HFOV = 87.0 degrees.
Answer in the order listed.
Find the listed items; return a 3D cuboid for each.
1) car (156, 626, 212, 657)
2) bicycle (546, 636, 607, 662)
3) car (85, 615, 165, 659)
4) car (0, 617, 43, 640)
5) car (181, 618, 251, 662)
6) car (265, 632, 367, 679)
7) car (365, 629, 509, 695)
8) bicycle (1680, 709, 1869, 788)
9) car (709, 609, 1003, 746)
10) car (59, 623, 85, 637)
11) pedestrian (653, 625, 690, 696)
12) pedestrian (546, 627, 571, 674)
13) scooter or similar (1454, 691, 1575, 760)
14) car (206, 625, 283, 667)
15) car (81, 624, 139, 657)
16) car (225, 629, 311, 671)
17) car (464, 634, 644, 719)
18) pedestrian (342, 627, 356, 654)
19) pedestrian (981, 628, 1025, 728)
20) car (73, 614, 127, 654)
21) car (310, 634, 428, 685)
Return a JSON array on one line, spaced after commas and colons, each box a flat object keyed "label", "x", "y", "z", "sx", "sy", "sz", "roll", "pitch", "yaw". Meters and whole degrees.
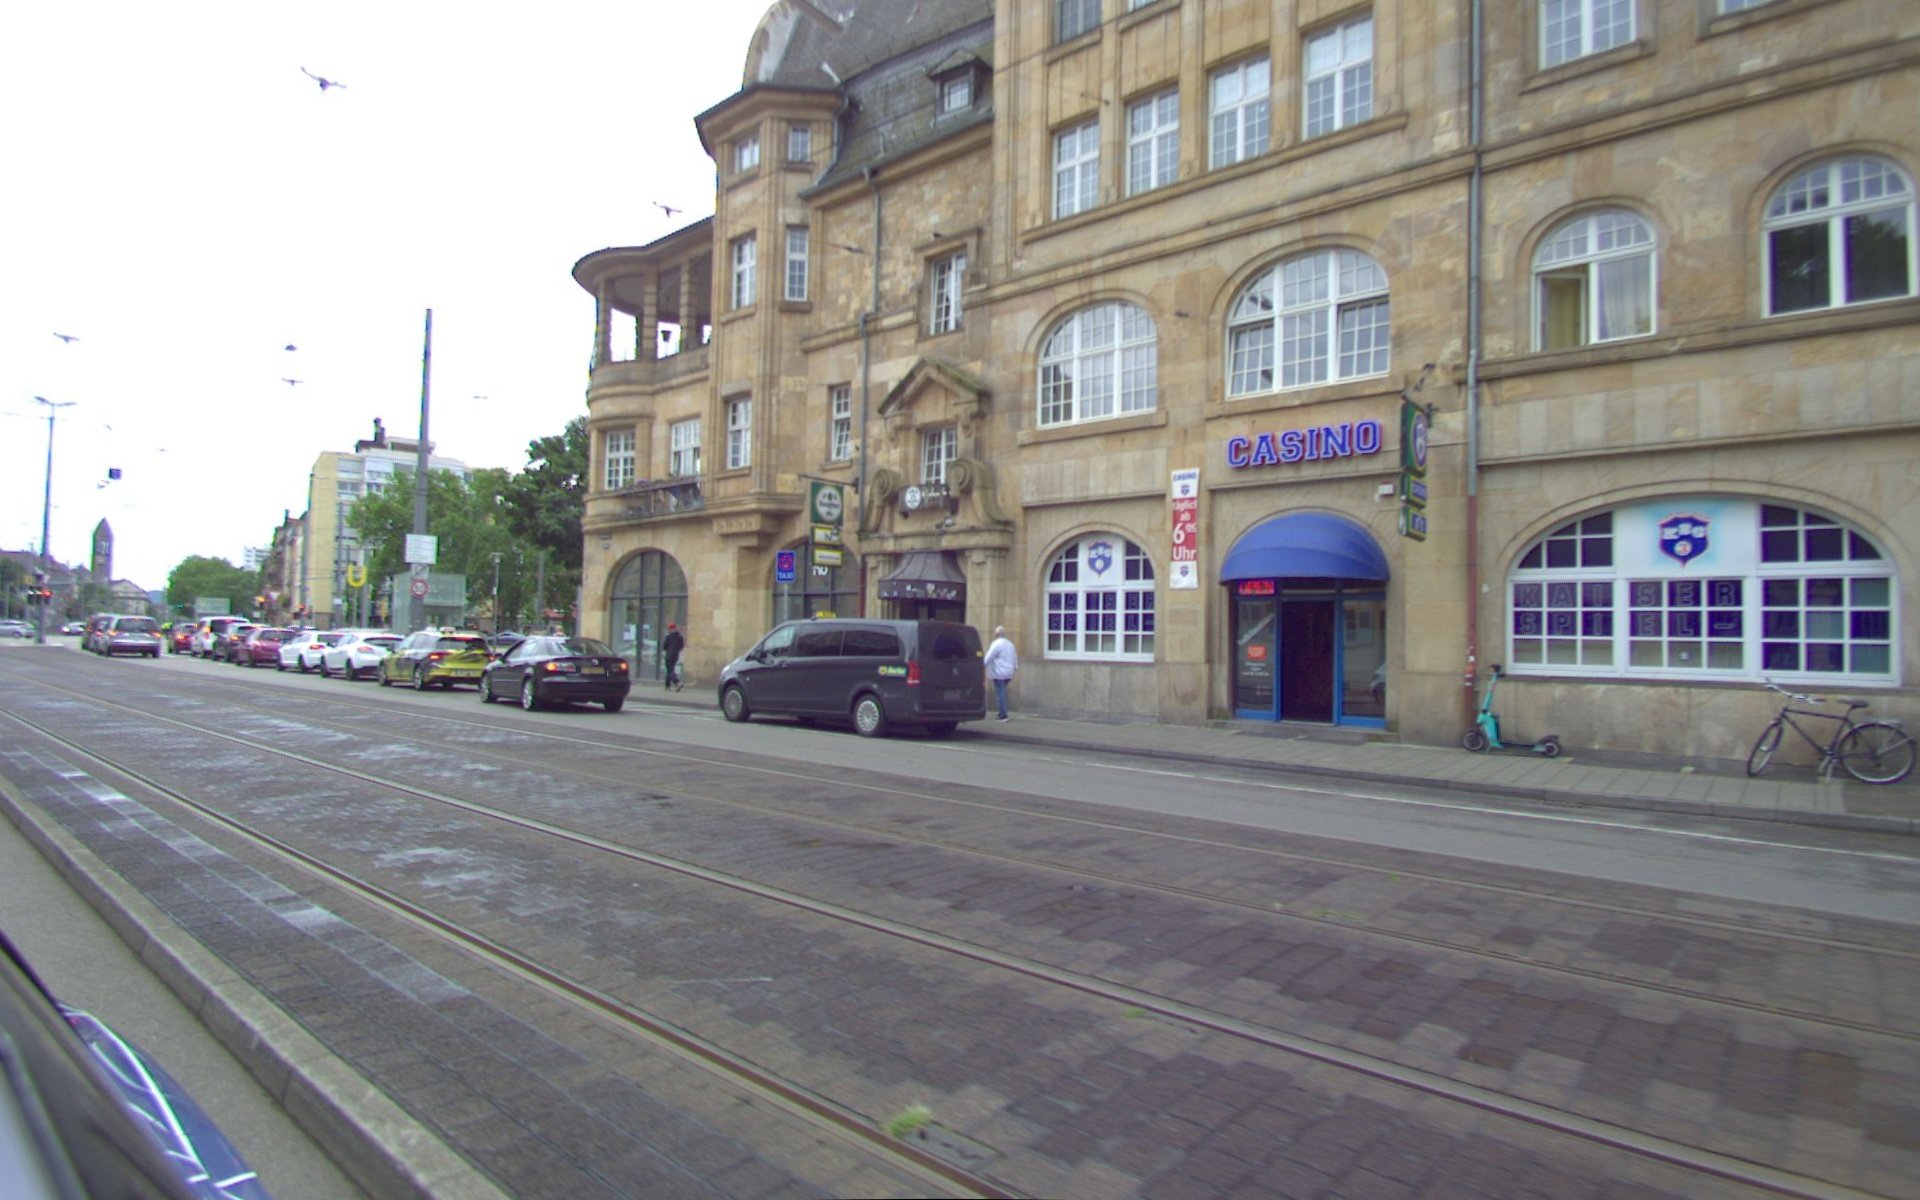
[{"label": "car", "x": -38.799, "y": 2.044, "z": 50.560, "sx": 4.002, "sy": 1.453, "sz": 1.669, "roll": -1, "pitch": -4, "yaw": 45}, {"label": "bicycle", "x": -21.658, "y": 2.752, "z": 57.161, "sx": 3.085, "sy": 1.364, "sz": 0.958, "roll": 1, "pitch": -2, "yaw": 9}, {"label": "car", "x": -35.678, "y": 1.580, "z": 43.201, "sx": 4.908, "sy": 1.719, "sz": 1.843, "roll": -1, "pitch": -5, "yaw": 42}, {"label": "car", "x": -79.047, "y": 2.358, "z": 83.888, "sx": 3.934, "sy": 1.763, "sz": 2.005, "roll": 2, "pitch": -2, "yaw": -12}, {"label": "car", "x": -34.151, "y": 1.818, "z": 46.392, "sx": 1.841, "sy": 1.931, "sz": 5.104, "roll": 4, "pitch": -4, "yaw": -44}, {"label": "car", "x": -21.727, "y": 1.842, "z": 34.079, "sx": 4.361, "sy": 1.390, "sz": 1.728, "roll": -1, "pitch": -6, "yaw": 42}, {"label": "car", "x": -13.309, "y": 1.546, "z": 25.637, "sx": 4.429, "sy": 1.522, "sz": 1.877, "roll": -2, "pitch": -5, "yaw": 44}, {"label": "bicycle", "x": 9.583, "y": 1.728, "z": 11.961, "sx": 1.705, "sy": 0.751, "sz": 0.575, "roll": -1, "pitch": -3, "yaw": 41}, {"label": "car", "x": -1.890, "y": 1.242, "z": 17.083, "sx": 5.094, "sy": 1.992, "sz": 1.879, "roll": -1, "pitch": -6, "yaw": 41}, {"label": "car", "x": -98.071, "y": 3.310, "z": 111.788, "sx": 1.968, "sy": 1.453, "sz": 4.007, "roll": 3, "pitch": -4, "yaw": -39}, {"label": "pedestrian", "x": -7.214, "y": 1.505, "z": 25.279, "sx": 0.764, "sy": 1.741, "sz": 0.490, "roll": -1, "pitch": -3, "yaw": 38}, {"label": "pedestrian", "x": -15.112, "y": 1.898, "z": 38.113, "sx": 0.628, "sy": 1.732, "sz": 0.529, "roll": 0, "pitch": -3, "yaw": 21}, {"label": "scooter or similar", "x": 7.474, "y": 1.668, "z": 13.673, "sx": 1.345, "sy": 0.809, "sz": 0.575, "roll": -1, "pitch": -3, "yaw": 41}, {"label": "car", "x": -29.447, "y": 1.878, "z": 41.619, "sx": 1.841, "sy": 1.546, "sz": 4.305, "roll": 6, "pitch": -5, "yaw": -44}, {"label": "car", "x": -39.922, "y": 1.868, "z": 47.492, "sx": 4.002, "sy": 1.453, "sz": 1.669, "roll": -1, "pitch": -4, "yaw": 45}, {"label": "car", "x": -25.785, "y": 1.837, "z": 37.690, "sx": 3.896, "sy": 1.410, "sz": 1.842, "roll": -1, "pitch": -6, "yaw": 45}, {"label": "car", "x": -8.084, "y": 1.459, "z": 19.908, "sx": 1.804, "sy": 1.444, "sz": 4.674, "roll": 6, "pitch": -6, "yaw": -40}, {"label": "pedestrian", "x": -40.294, "y": 2.685, "z": 66.712, "sx": 0.592, "sy": 1.741, "sz": 0.915, "roll": 2, "pitch": -3, "yaw": -24}, {"label": "pedestrian", "x": 0.778, "y": 1.386, "z": 18.175, "sx": 0.522, "sy": 1.741, "sz": 0.592, "roll": -1, "pitch": -3, "yaw": 37}, {"label": "car", "x": -43.994, "y": 1.726, "z": 51.715, "sx": 4.389, "sy": 1.915, "sz": 1.669, "roll": -1, "pitch": -4, "yaw": 45}, {"label": "car", "x": -17.523, "y": 1.730, "z": 29.937, "sx": 4.259, "sy": 1.390, "sz": 1.905, "roll": -1, "pitch": -4, "yaw": 44}]
